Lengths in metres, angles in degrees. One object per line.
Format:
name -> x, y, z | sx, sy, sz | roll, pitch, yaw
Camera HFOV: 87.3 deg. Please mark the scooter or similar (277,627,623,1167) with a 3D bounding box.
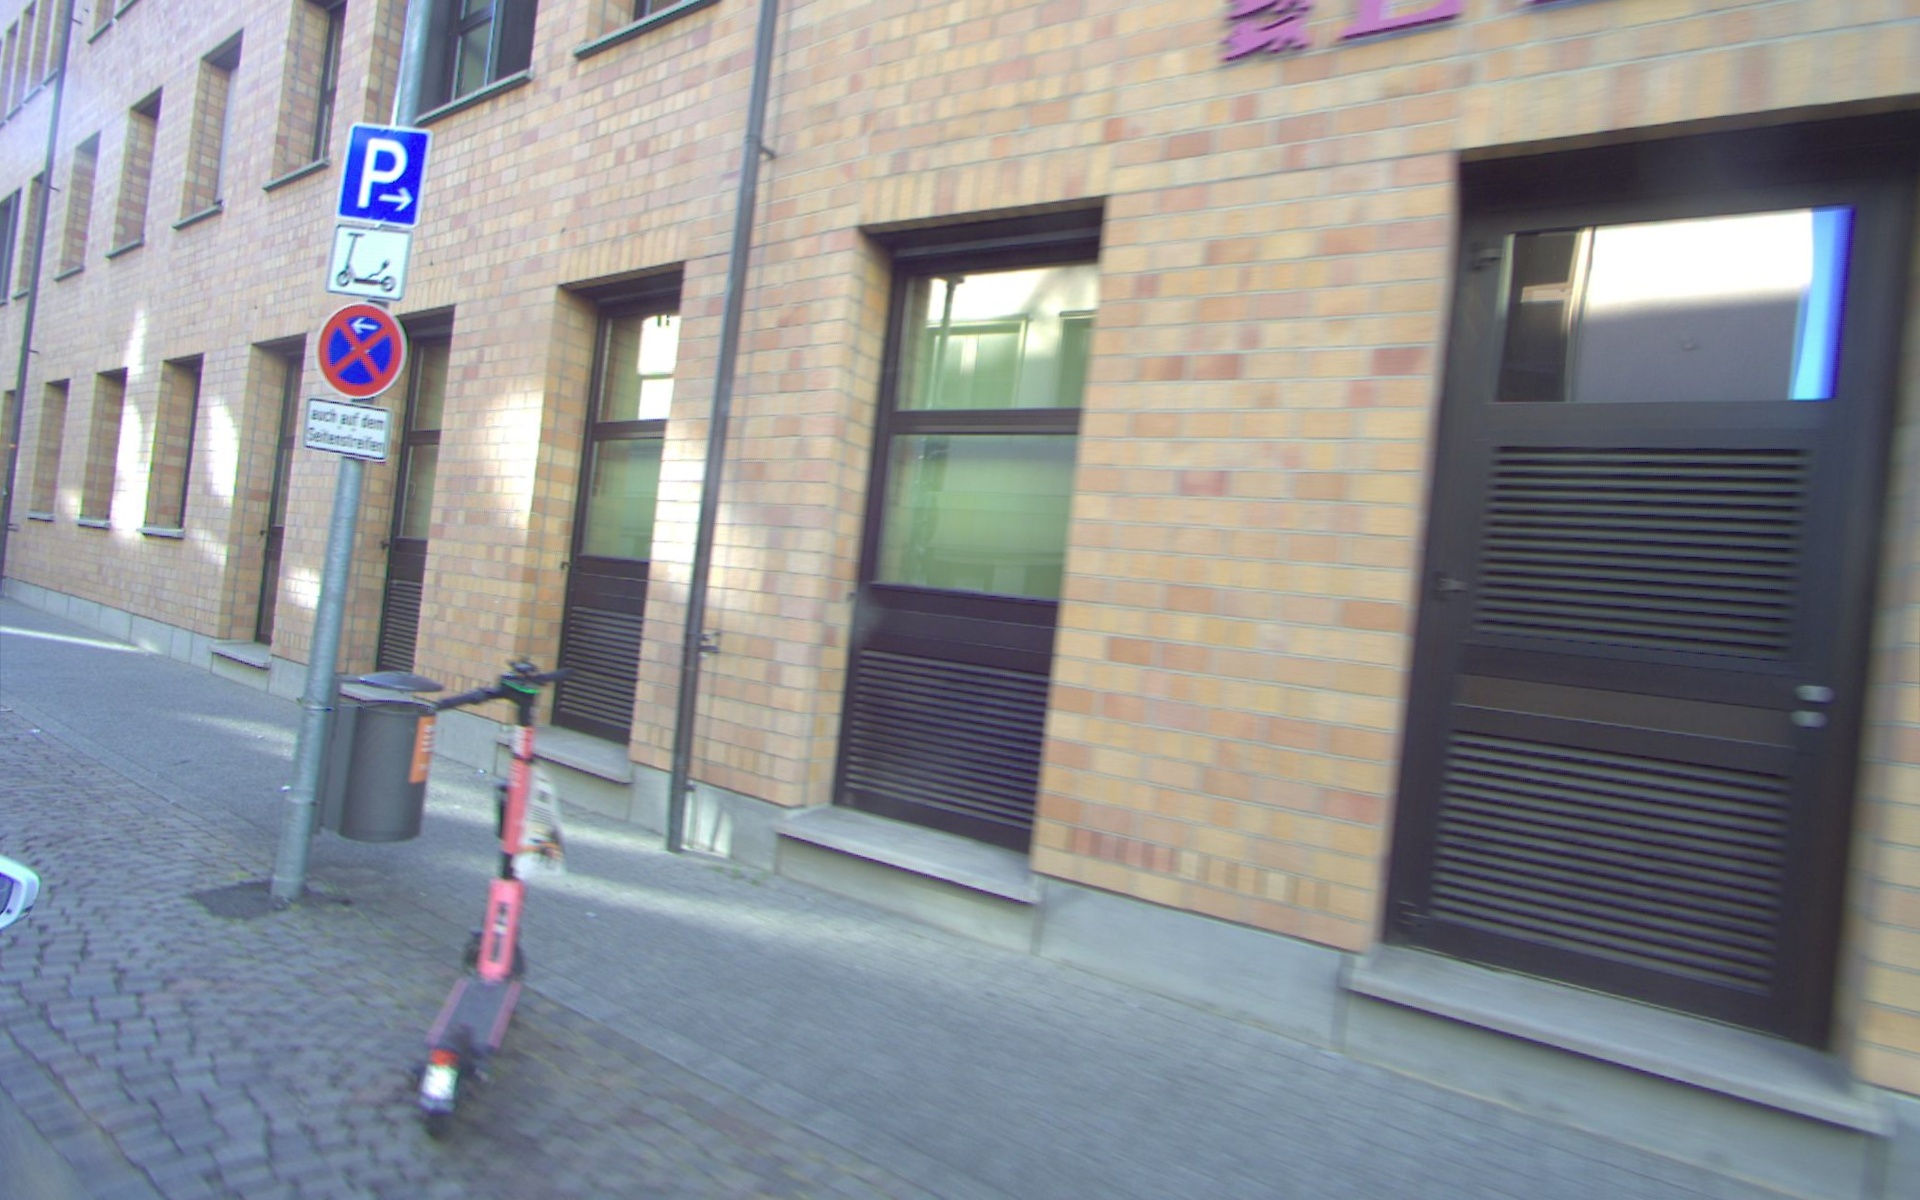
scooter or similar -> -1.449, 0.754, 3.122 | 0.530, 1.249, 1.415 | 9, -2, -16
